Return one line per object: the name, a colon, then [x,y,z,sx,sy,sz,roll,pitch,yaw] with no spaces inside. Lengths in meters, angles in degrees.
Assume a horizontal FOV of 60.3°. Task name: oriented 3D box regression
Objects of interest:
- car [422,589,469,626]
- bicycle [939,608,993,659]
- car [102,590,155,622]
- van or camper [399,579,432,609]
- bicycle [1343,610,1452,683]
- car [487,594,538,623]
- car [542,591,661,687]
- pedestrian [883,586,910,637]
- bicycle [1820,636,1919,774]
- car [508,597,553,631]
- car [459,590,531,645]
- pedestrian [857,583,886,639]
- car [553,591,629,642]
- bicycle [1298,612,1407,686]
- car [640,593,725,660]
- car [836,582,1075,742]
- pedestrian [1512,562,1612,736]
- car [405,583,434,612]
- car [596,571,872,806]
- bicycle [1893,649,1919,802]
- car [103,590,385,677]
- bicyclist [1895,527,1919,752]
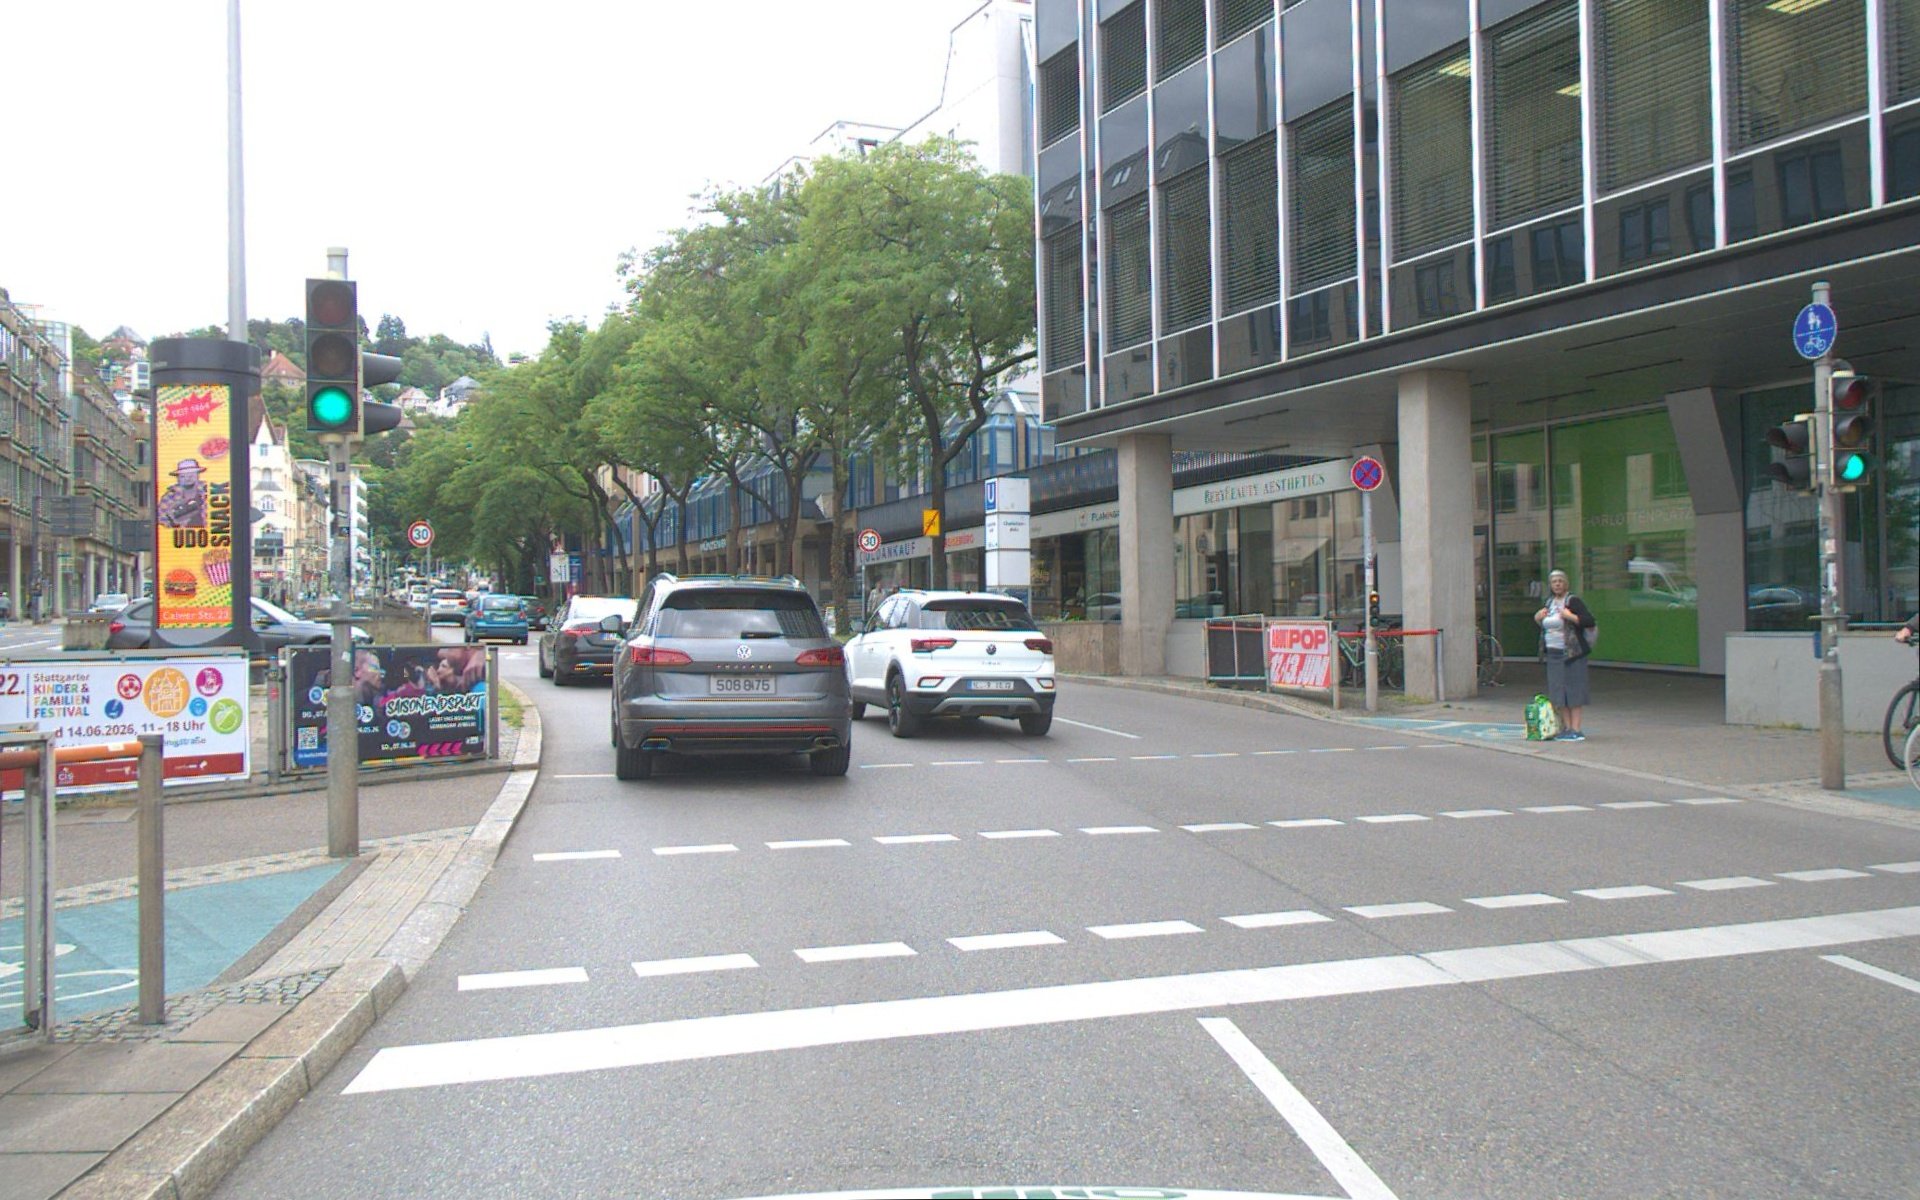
car: [-23.238,0.329,74.610,1.805,1.594,3.744,-2,0,-20]
bicycle: [0.131,0.778,38.876,0.483,1.152,1.871,-1,0,-26]
car: [-41.993,0.308,83.618,1.890,1.553,4.515,-1,0,-20]
van or camper: [-59.640,-0.659,181.137,2.596,3.234,5.753,-1,0,-26]
bicycle: [6.646,0.684,25.144,0.708,1.066,1.464,-1,0,-41]
car: [-23.398,0.444,86.354,2.028,1.443,4.303,-2,1,-23]
car: [-6.039,0.589,27.737,1.802,1.420,4.134,0,1,-13]
pedestrian: [-2.074,0.374,54.090,0.588,1.657,0.751,-1,0,-26]
bicycle: [8.150,0.833,13.763,1.731,1.024,0.678,-3,2,-13]
car: [-18.620,0.585,71.724,1.802,1.387,3.752,-2,0,-15]
car: [-14.088,0.514,49.991,1.805,1.544,3.745,-2,0,-20]
pedestrian: [-2.883,0.340,53.758,0.588,1.784,0.933,-1,0,-26]
car: [-12.013,0.536,53.650,1.807,1.544,3.742,-2,0,-22]
bicycle: [5.884,0.713,24.848,0.708,1.066,1.464,-1,0,-41]
car: [-6.795,0.607,40.205,1.802,1.457,4.134,0,1,-13]
car: [-0.171,0.637,19.036,1.768,1.572,3.920,2,1,-15]
pedestrian: [6.237,0.505,17.154,0.518,1.741,0.747,-2,-1,-26]
car: [-37.322,-0.163,114.146,1.804,1.907,4.844,-2,0,-19]
car: [-2.177,0.661,14.849,1.937,1.725,4.208,-2,1,-15]
bicycle: [7.421,0.867,11.381,1.639,1.045,0.578,-2,0,41]
car: [-13.131,0.594,30.605,4.471,1.484,1.875,-1,0,-13]
bicyclist: [8.409,0.326,13.808,0.797,1.878,0.673,0,0,-14]
